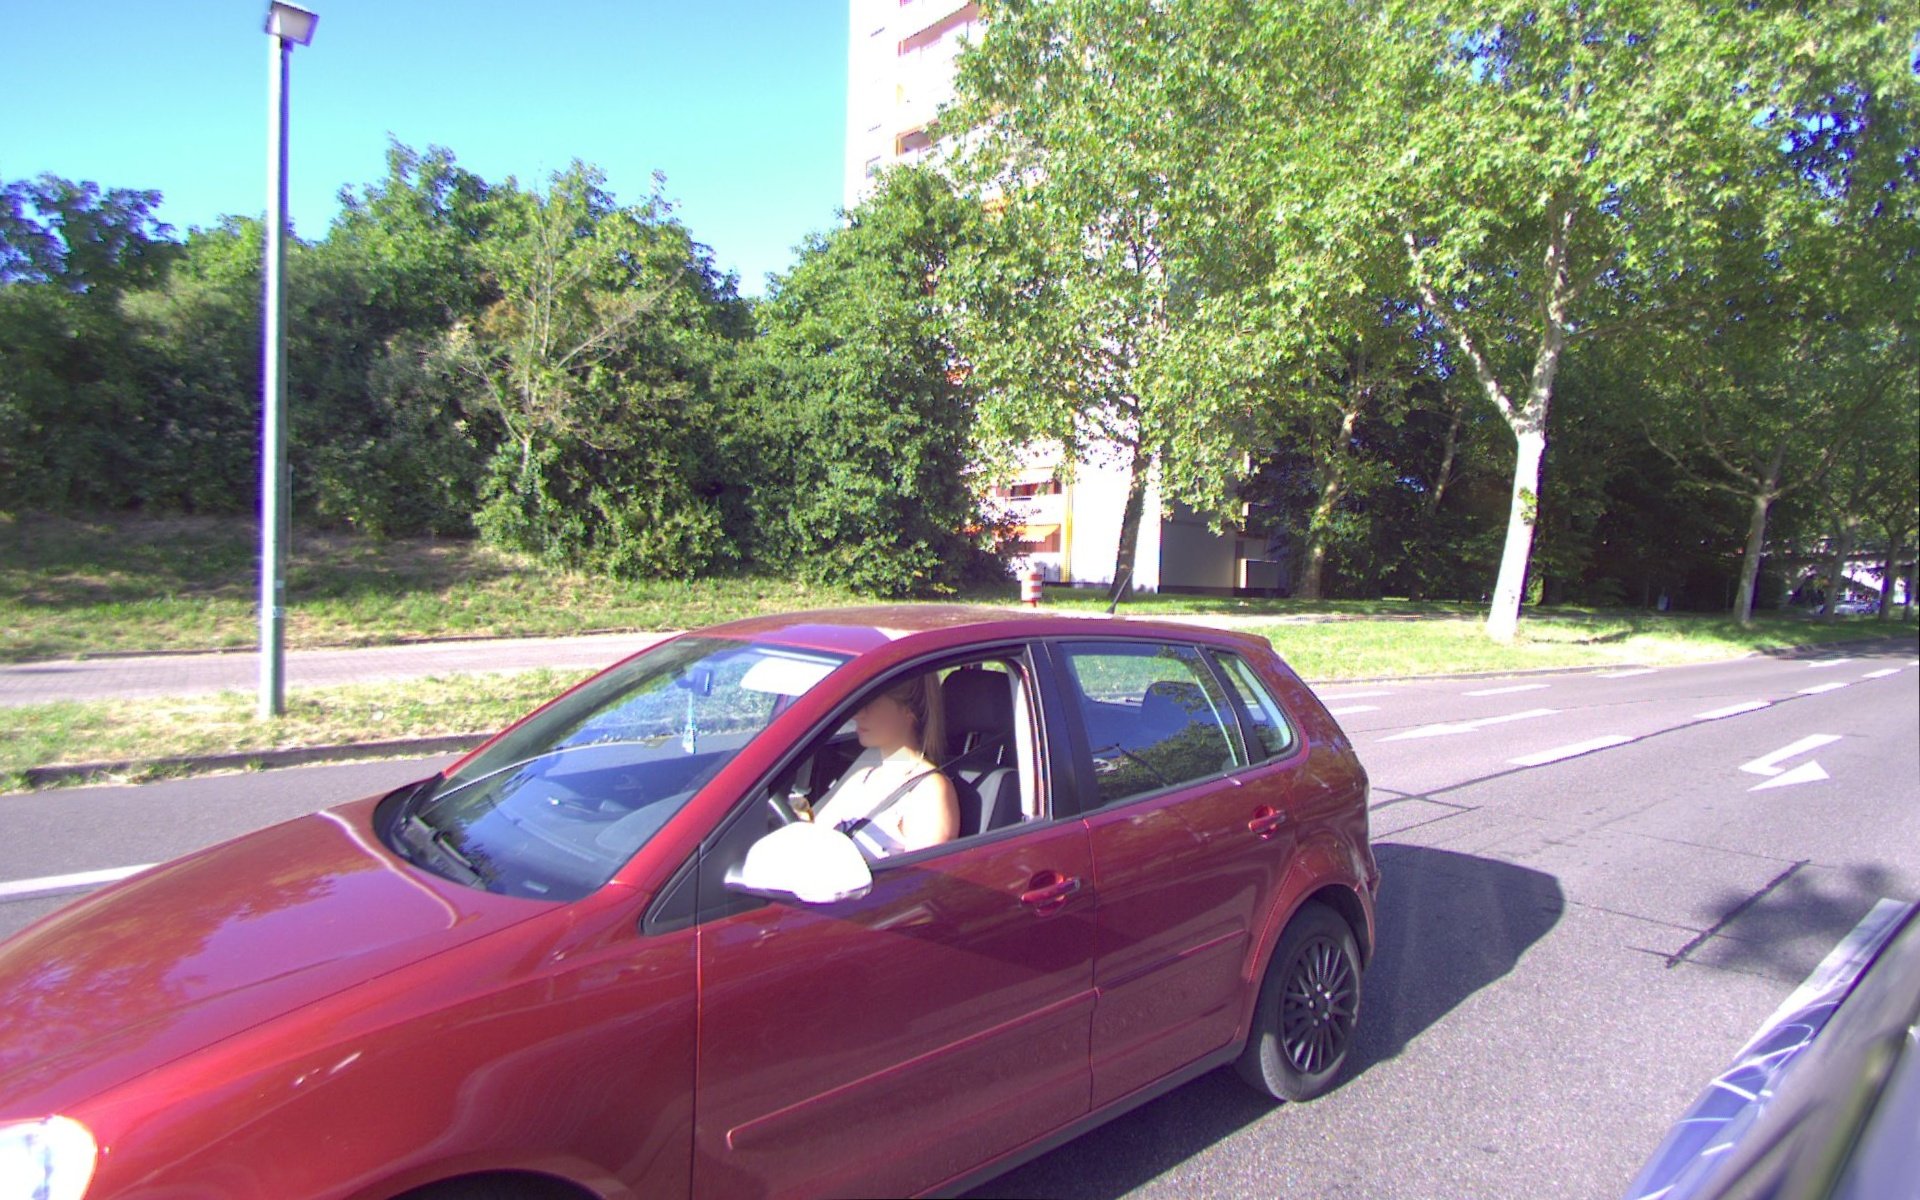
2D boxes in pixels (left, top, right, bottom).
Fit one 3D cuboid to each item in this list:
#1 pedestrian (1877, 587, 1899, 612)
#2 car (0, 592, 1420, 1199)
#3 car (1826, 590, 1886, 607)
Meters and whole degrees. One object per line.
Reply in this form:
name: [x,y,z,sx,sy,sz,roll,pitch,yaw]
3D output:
pedestrian: [75.487,-0.060,82.302,0.943,2.039,0.920,0,0,-5]
car: [-0.428,0.718,2.784,3.694,1.456,1.645,-1,1,-40]
car: [80.947,-0.129,91.496,3.983,1.493,1.772,0,0,42]
